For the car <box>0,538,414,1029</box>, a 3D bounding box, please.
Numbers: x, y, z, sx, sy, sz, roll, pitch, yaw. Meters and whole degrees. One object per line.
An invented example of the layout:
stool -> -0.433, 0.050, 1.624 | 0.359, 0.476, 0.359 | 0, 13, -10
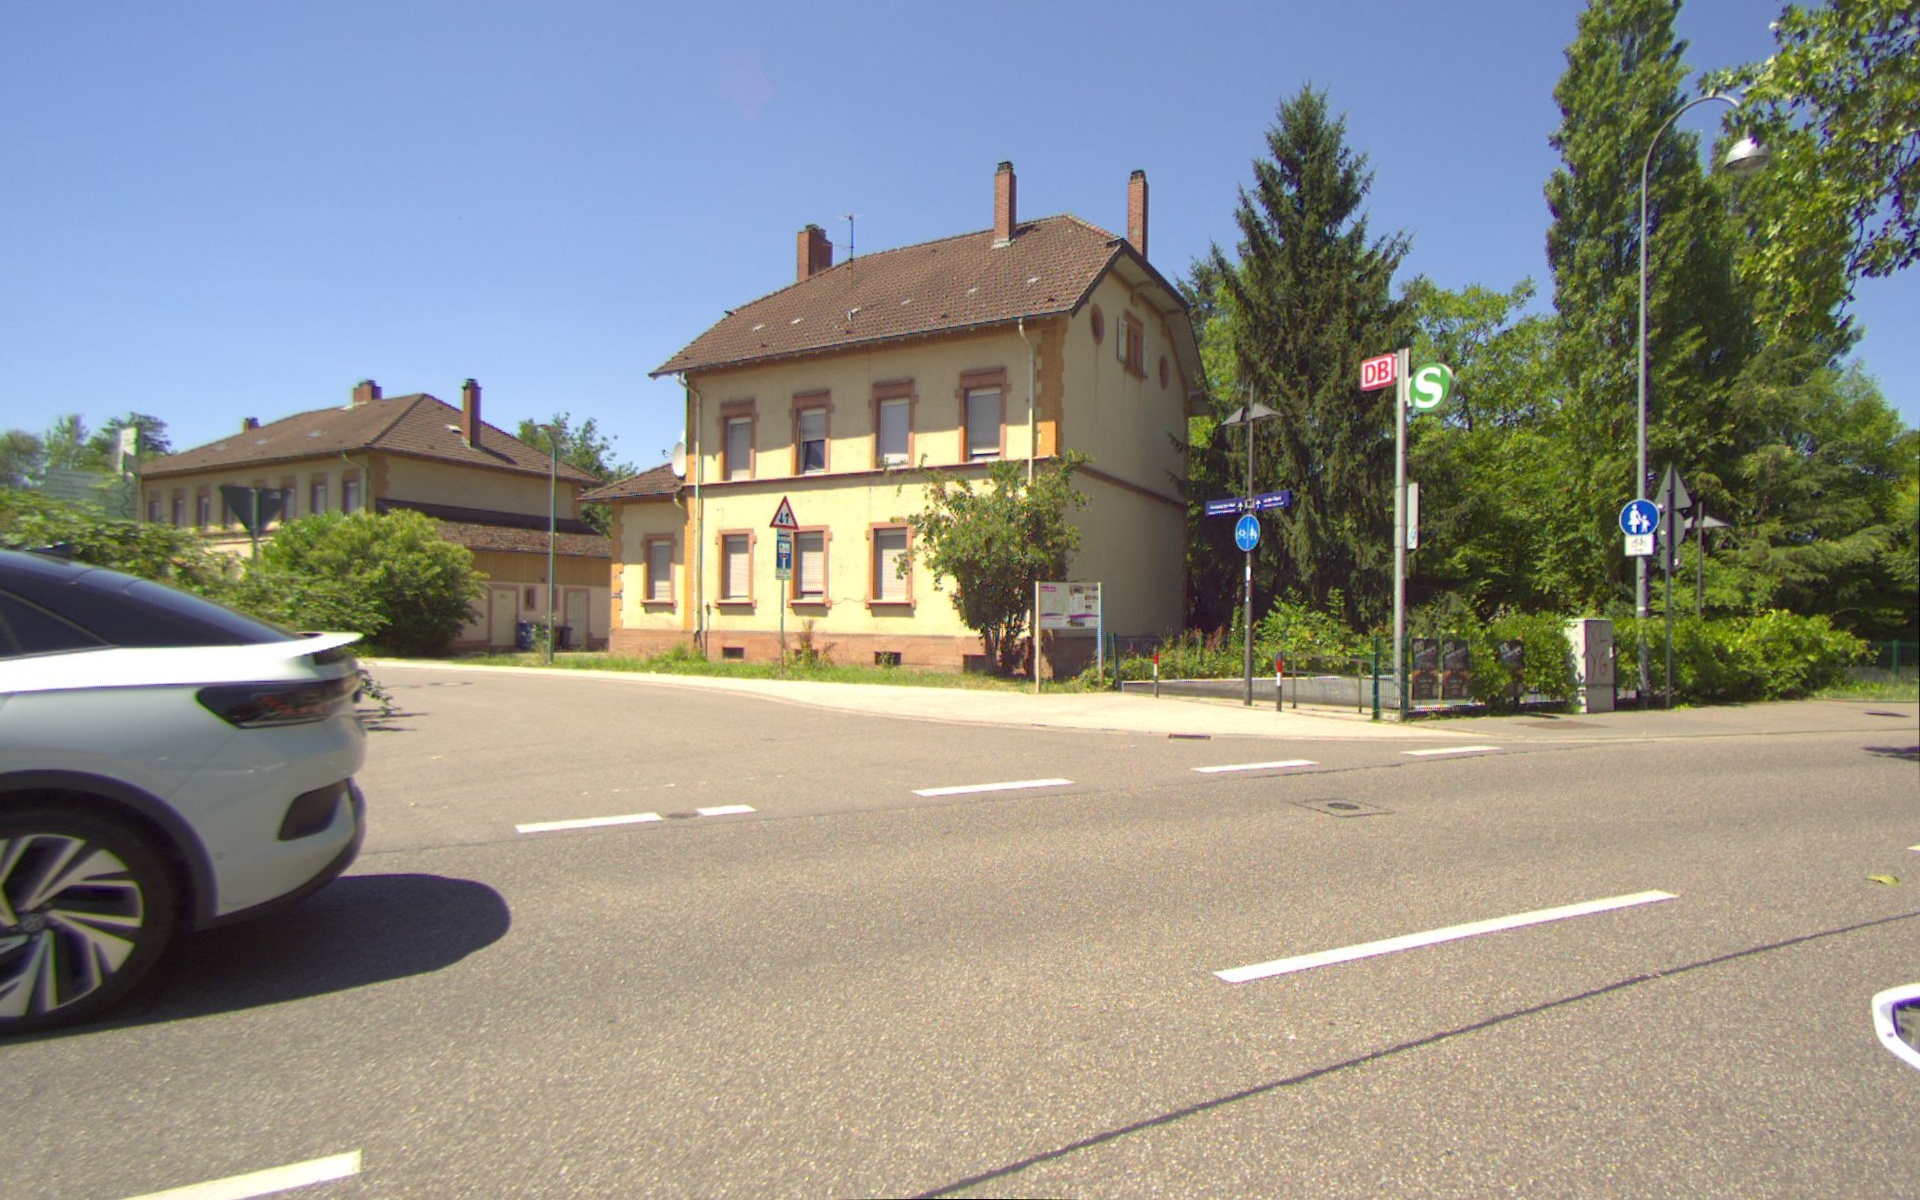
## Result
car -> -4.351, 0.563, 3.398 | 4.292, 1.551, 1.834 | 1, 0, -33
